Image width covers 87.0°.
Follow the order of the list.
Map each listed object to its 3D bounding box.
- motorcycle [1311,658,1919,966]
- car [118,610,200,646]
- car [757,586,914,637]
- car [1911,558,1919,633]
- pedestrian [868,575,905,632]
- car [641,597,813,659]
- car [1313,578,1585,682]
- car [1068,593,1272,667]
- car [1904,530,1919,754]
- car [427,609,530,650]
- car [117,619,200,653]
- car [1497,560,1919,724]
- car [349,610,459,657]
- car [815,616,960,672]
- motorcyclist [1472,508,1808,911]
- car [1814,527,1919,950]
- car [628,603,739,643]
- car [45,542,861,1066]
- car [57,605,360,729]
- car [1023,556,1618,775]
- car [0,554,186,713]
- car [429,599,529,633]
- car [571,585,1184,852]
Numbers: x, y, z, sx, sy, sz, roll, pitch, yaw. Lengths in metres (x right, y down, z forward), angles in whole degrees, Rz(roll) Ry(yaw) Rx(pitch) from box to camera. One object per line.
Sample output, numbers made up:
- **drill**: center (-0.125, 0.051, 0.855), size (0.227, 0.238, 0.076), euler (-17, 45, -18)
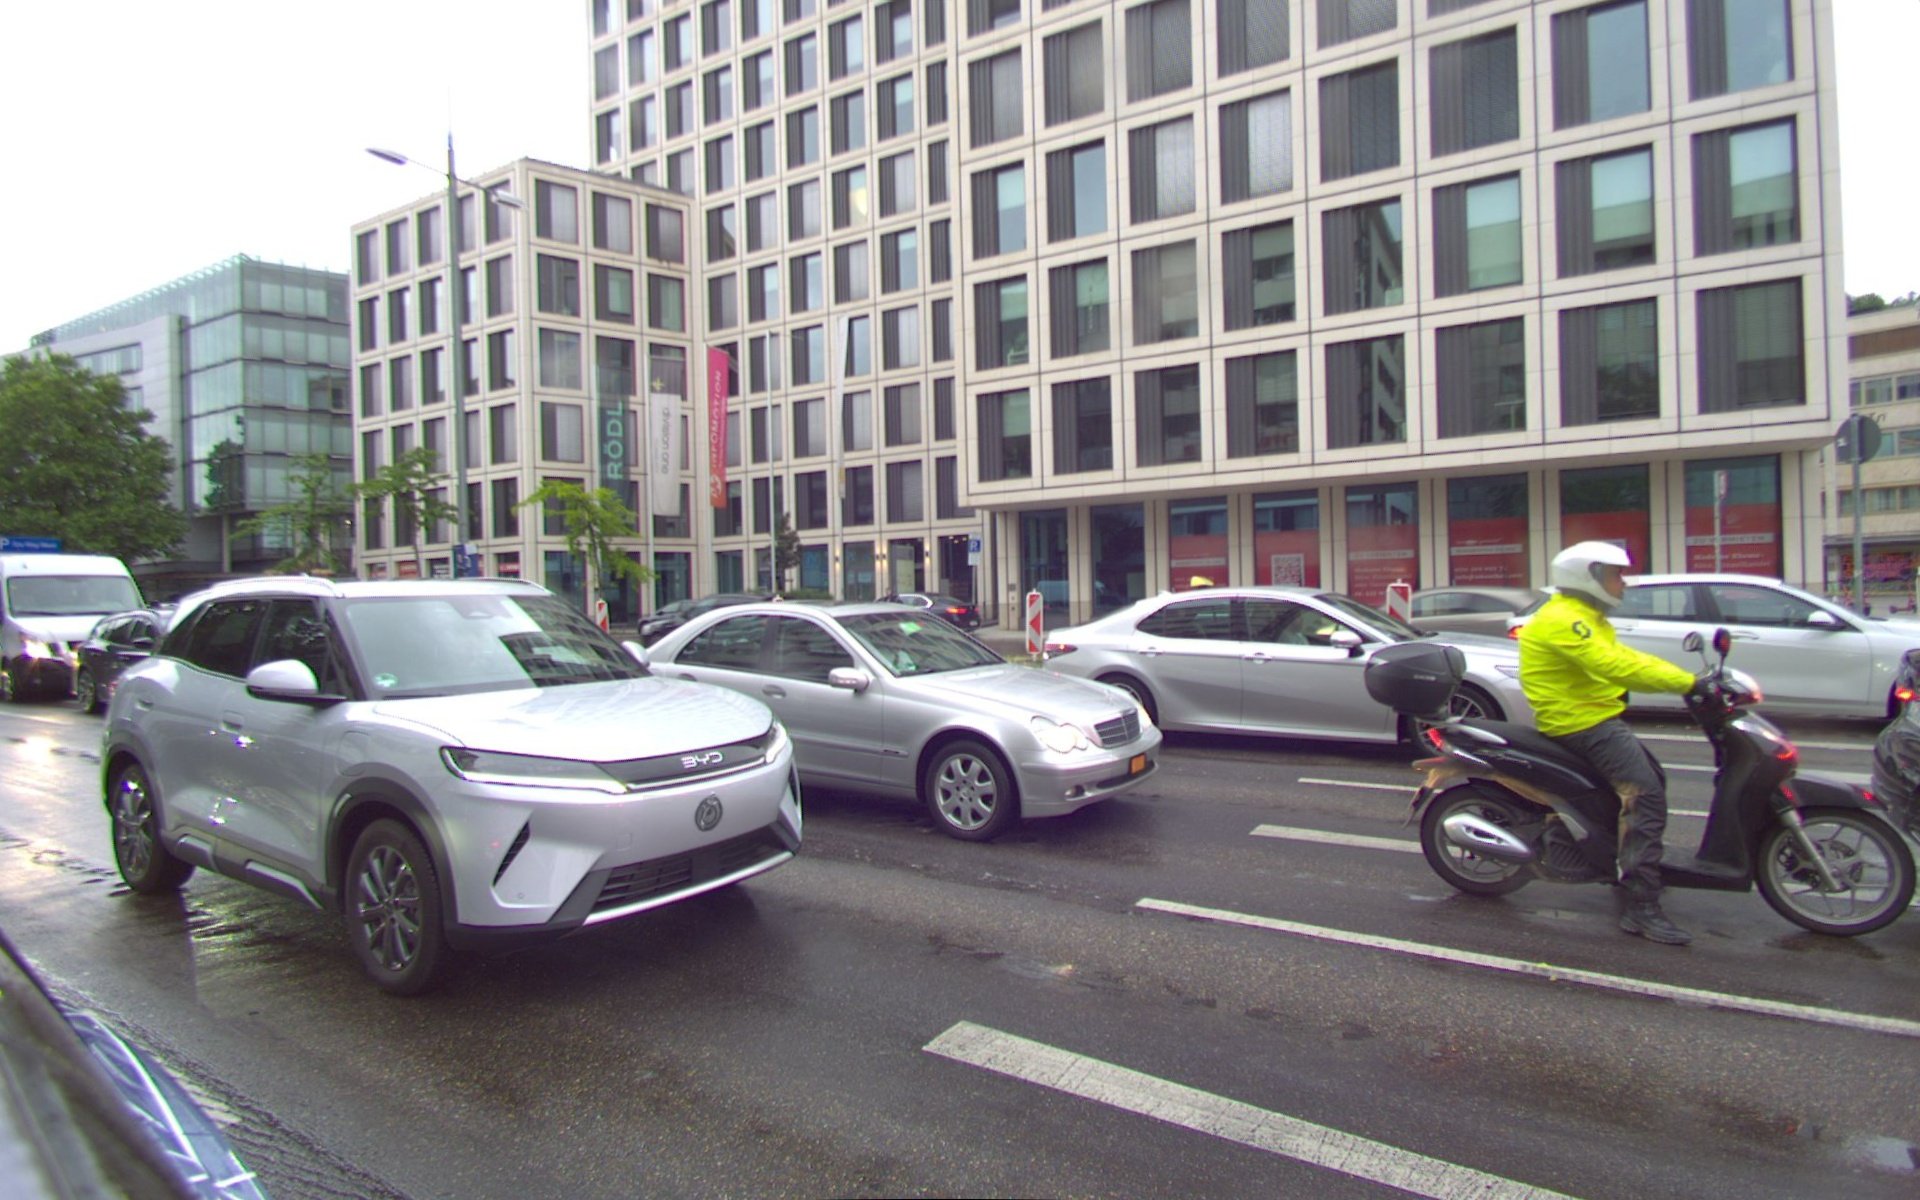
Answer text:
- **motorcycle**: center (2.825, 0.801, 4.447), size (2.285, 0.997, 0.935), euler (-1, 1, 30)
- **car**: center (-47.384, 1.626, 59.826), size (4.892, 2.029, 1.981), euler (-1, 1, 28)
- **car**: center (-4.178, 0.401, 33.555), size (5.160, 1.581, 1.687), euler (-1, -1, 29)
- **car**: center (19.890, -0.126, 18.034), size (3.937, 1.435, 1.687), euler (-1, -1, 28)
- **pedestrian**: center (-2.314, 0.103, 31.949), size (0.963, 1.747, 0.608), euler (-1, 1, 29)
- **car**: center (-5.817, 0.701, 25.169), size (4.121, 1.435, 1.687), euler (-1, -1, 28)
- **car**: center (8.201, 0.470, 17.225), size (3.979, 1.586, 1.688), euler (-1, 1, 27)
- **car**: center (4.671, 0.654, 22.647), size (4.172, 1.530, 1.687), euler (-1, -1, 29)
- **car**: center (8.422, 0.303, 5.871), size (3.984, 1.628, 1.721), euler (-1, 1, 30)
- **car**: center (-18.560, 1.125, 39.027), size (3.668, 1.530, 1.688), euler (-1, -1, 26)
- **car**: center (-37.627, 1.678, 47.501), size (3.857, 1.530, 1.687), euler (-1, -1, 28)
- **car**: center (7.642, 0.335, 9.954), size (3.985, 1.383, 1.768), euler (0, 1, 36)
- **car**: center (-18.934, 1.126, 34.453), size (3.538, 1.530, 1.687), euler (-1, -1, 28)
- **car**: center (-2.133, 1.252, 29.559), size (3.953, 1.530, 1.687), euler (-1, -1, 29)
- **motorcyclist**: center (2.872, 0.398, 4.411), size (1.096, 1.486, 0.935), euler (-1, 1, 30)
- **car**: center (5.951, 0.458, 3.034), size (4.990, 1.526, 1.871), euler (0, 1, 35)
- **car**: center (-10.378, 0.860, 37.951), size (3.937, 1.435, 1.687), euler (-1, -1, 28)
- **car**: center (-2.698, 0.641, 5.106), size (4.157, 1.673, 1.794), euler (-1, 1, 33)
- **car**: center (-10.341, 0.810, 13.868), size (4.227, 1.412, 1.886), euler (-1, 1, 32)
- **car**: center (3.092, 0.446, 9.188), size (4.790, 1.532, 1.815), euler (0, 1, 35)
- **car**: center (-16.113, 0.488, 17.928), size (5.708, 2.403, 2.234), euler (0, 1, 36)
- **car**: center (-20.727, 0.702, 43.579), size (4.354, 1.435, 1.687), euler (-1, -1, 28)
- **car**: center (-0.760, 0.645, 7.413), size (4.372, 1.414, 1.718), euler (0, 1, 34)
